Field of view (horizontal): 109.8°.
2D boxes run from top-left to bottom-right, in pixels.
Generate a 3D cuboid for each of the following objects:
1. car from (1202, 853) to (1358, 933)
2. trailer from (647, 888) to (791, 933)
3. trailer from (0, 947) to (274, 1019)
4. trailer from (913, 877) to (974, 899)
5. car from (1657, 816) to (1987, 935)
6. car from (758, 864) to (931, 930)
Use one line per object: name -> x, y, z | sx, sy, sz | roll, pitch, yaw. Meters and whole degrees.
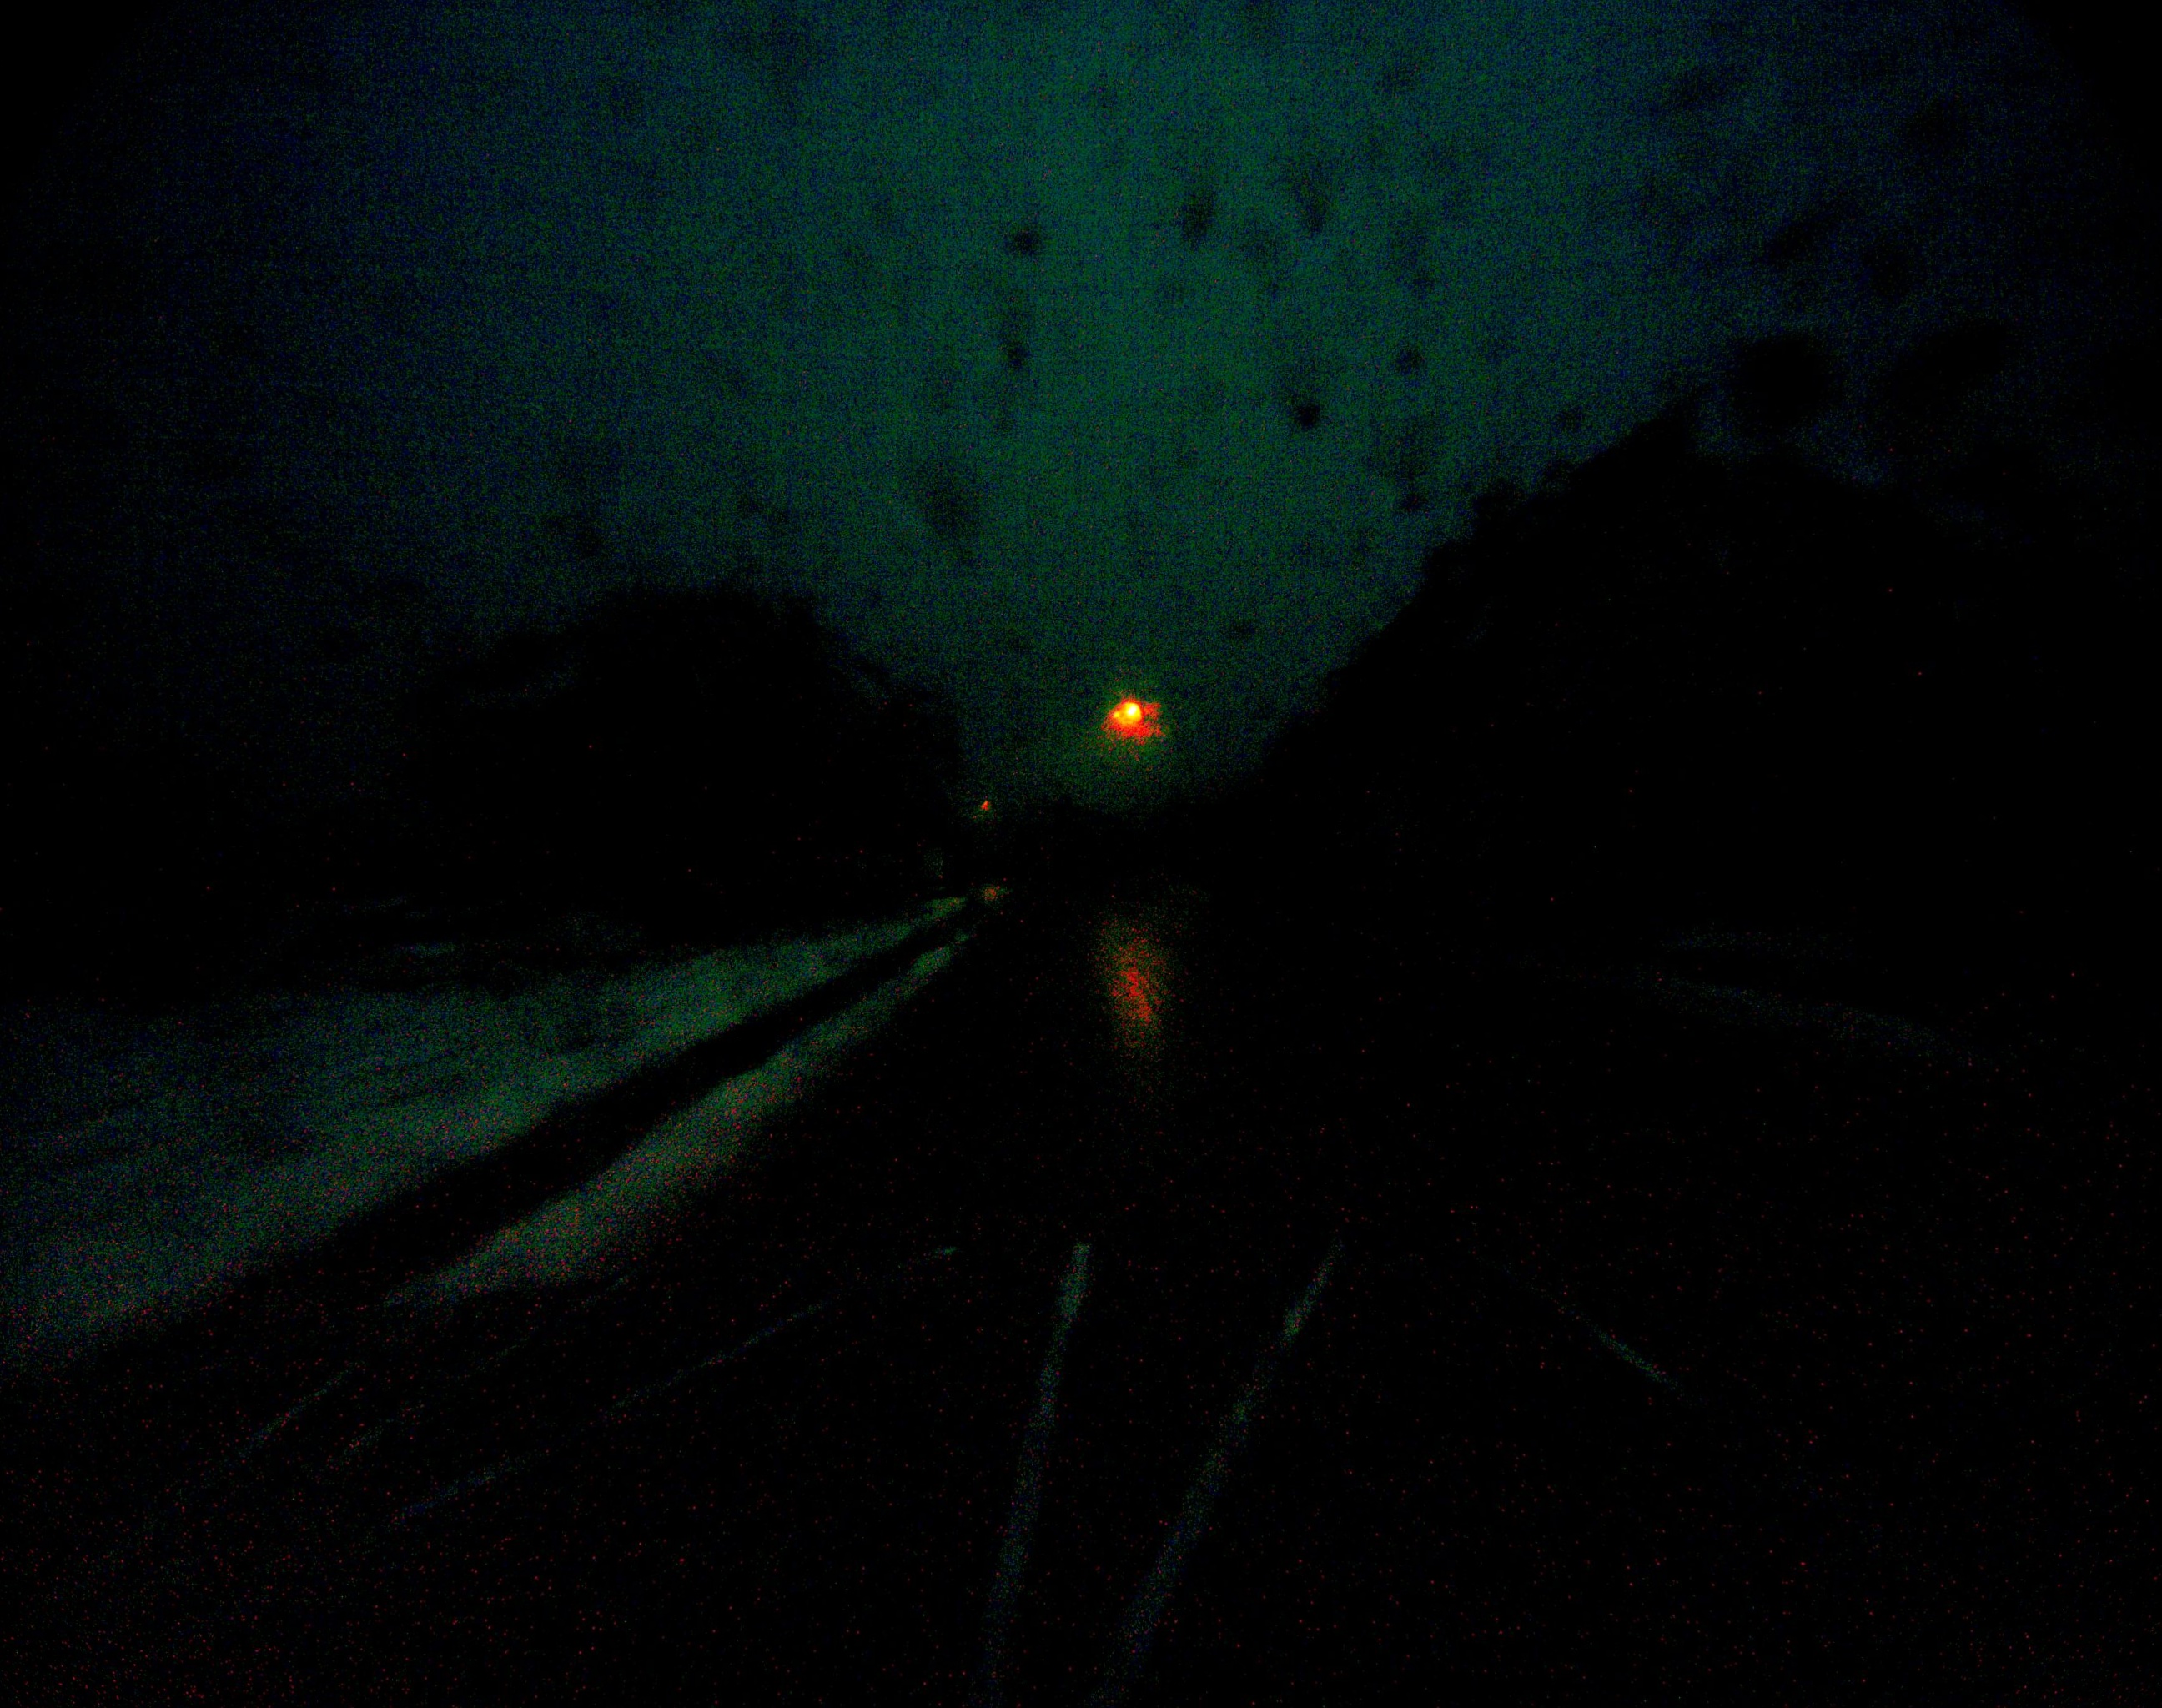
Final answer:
car -> 4.239, 0.766, 17.236 | 1.882, 1.418, 5.391 | -3, 0, -2
trailer -> -12.168, 1.870, 25.819 | 3.882, 1.085, 2.244 | -4, 0, -9
trailer -> -20.448, 2.752, 16.746 | 1.850, 0.940, 3.659 | -1, -1, -11
trailer -> -6.723, 1.619, 36.986 | 1.552, 0.940, 3.991 | 0, -1, -32
car -> 12.688, 0.305, 13.188 | 3.997, 1.639, 1.792 | -4, 3, -1
car -> -6.992, 1.247, 22.886 | 4.462, 1.374, 2.035 | -7, 0, -1
